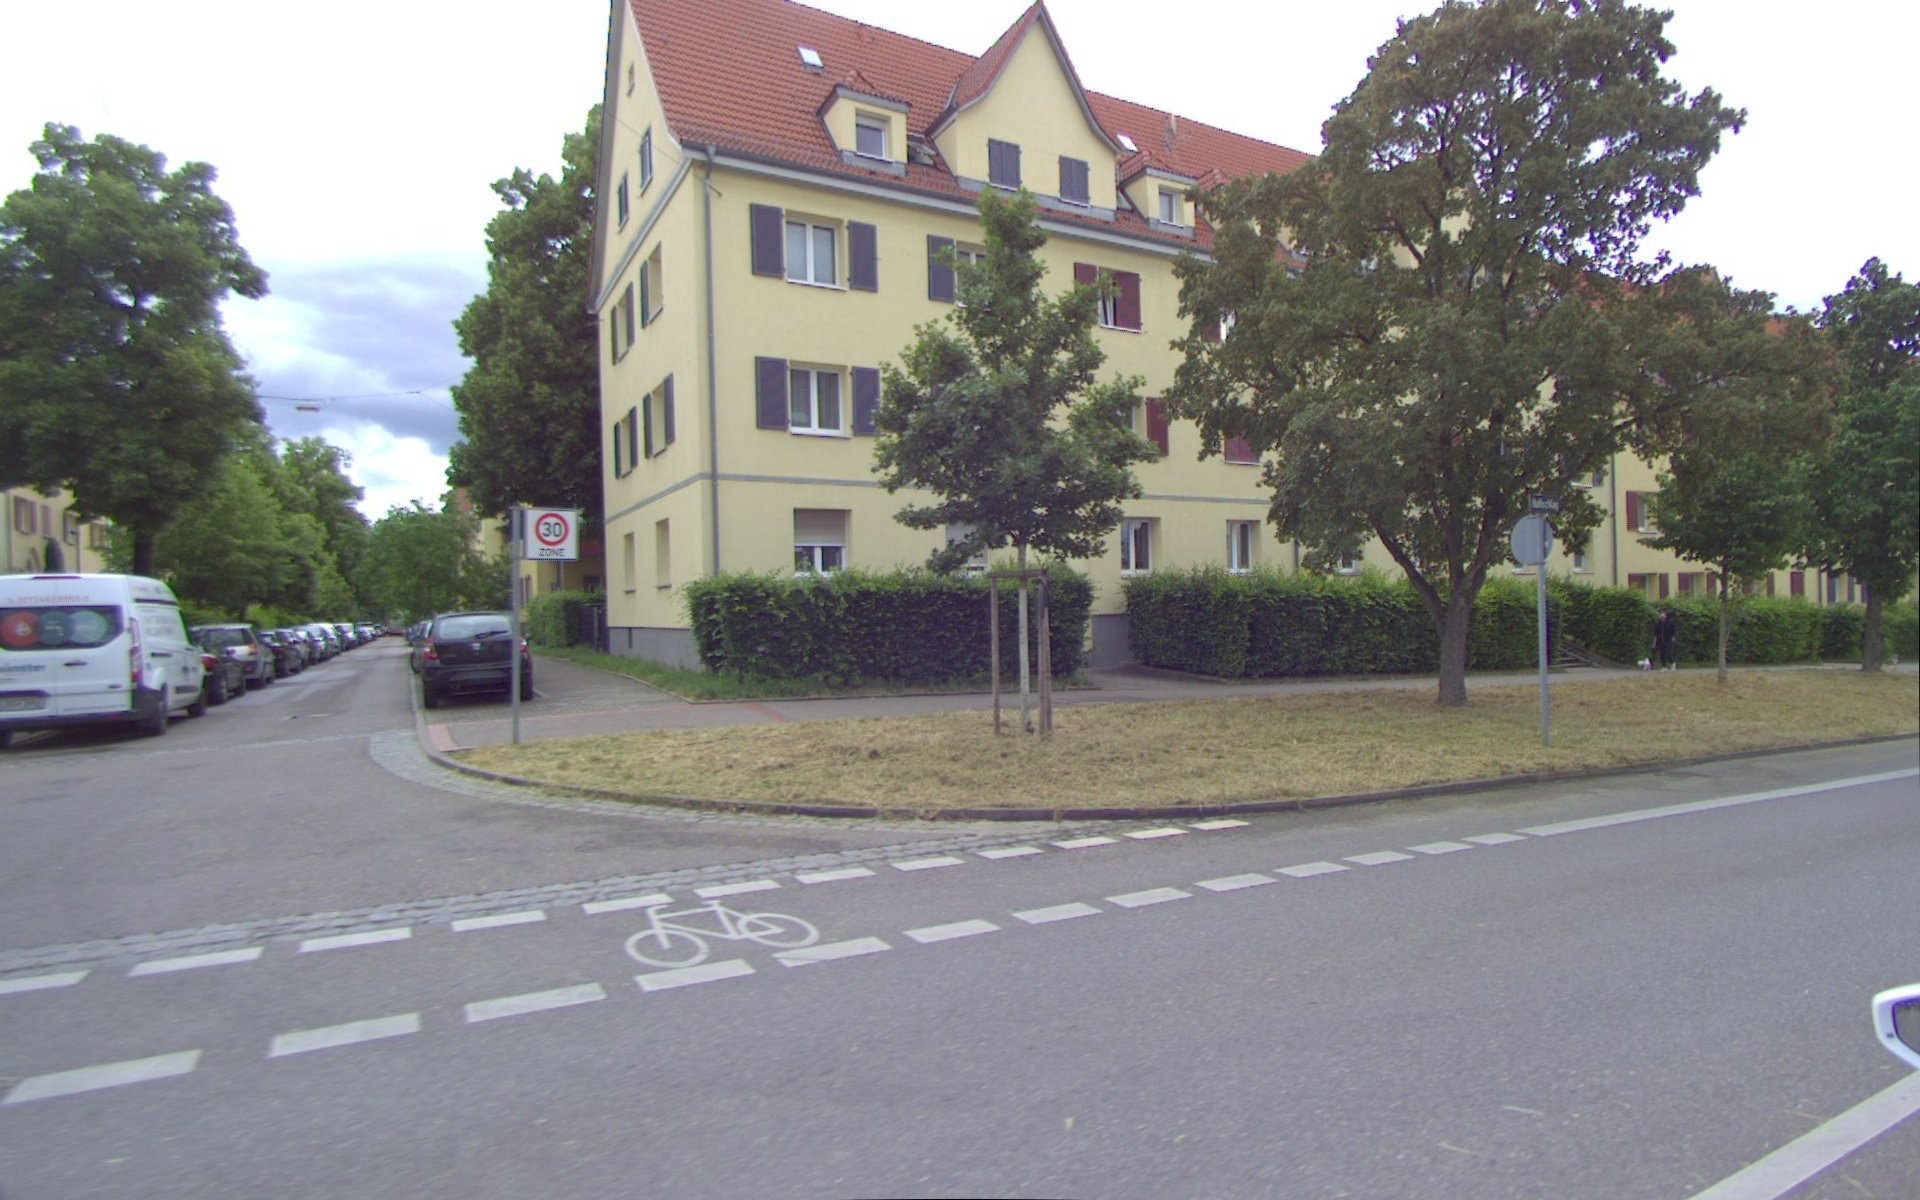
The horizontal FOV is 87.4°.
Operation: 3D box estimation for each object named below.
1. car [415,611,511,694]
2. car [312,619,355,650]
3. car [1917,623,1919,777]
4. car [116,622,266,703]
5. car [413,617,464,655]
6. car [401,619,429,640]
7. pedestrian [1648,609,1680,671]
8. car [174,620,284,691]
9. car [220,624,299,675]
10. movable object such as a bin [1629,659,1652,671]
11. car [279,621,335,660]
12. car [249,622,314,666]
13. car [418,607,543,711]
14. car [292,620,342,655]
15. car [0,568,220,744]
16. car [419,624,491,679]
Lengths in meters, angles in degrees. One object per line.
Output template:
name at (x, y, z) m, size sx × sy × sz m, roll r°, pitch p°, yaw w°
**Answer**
car at (-10.743, 1.048, 21.591) m, size 1.601 × 1.550 × 3.633 m, roll -3°, pitch 1°, yaw -30°
car at (-30.772, 1.673, 49.382) m, size 1.567 × 1.404 × 3.446 m, roll 1°, pitch -1°, yaw -29°
car at (12.576, 1.093, 10.983) m, size 4.309 × 1.641 × 1.891 m, roll 1°, pitch -1°, yaw -29°
car at (-15.754, 1.212, 20.777) m, size 1.722 × 1.486 × 3.804 m, roll 1°, pitch -1°, yaw -26°
car at (-19.475, 1.308, 37.450) m, size 1.523 × 1.255 × 3.399 m, roll -3°, pitch 1°, yaw -30°
car at (-36.215, 1.965, 66.736) m, size 1.523 × 1.255 × 3.399 m, roll -3°, pitch 1°, yaw -30°
pedestrian at (20.683, 1.174, 29.525) m, size 0.744 × 1.803 × 0.511 m, roll 1°, pitch -1°, yaw -30°
car at (-18.094, 1.309, 25.024) m, size 1.724 × 1.587 × 3.801 m, roll 1°, pitch -1°, yaw -29°
car at (-21.055, 1.457, 30.287) m, size 1.567 × 1.404 × 3.446 m, roll 1°, pitch -1°, yaw -29°
movable object such as a bin at (20.490, 1.956, 30.248) m, size 0.573 × 0.352 × 0.305 m, roll 1°, pitch -1°, yaw -24°
car at (-25.429, 1.559, 39.177) m, size 1.567 × 1.404 × 3.446 m, roll 1°, pitch -1°, yaw -29°
car at (-23.723, 1.512, 35.225) m, size 1.567 × 1.404 × 3.446 m, roll 1°, pitch -1°, yaw -29°
car at (-8.591, 0.945, 17.829) m, size 1.670 × 1.550 × 3.886 m, roll -3°, pitch 1°, yaw -30°
car at (-27.920, 1.608, 43.686) m, size 1.567 × 1.404 × 3.446 m, roll 1°, pitch -1°, yaw -29°
car at (-13.021, 0.784, 15.429) m, size 1.970 × 2.283 × 4.698 m, roll 1°, pitch -2°, yaw -29°
car at (-13.510, 1.319, 26.799) m, size 1.523 × 1.255 × 3.399 m, roll -3°, pitch 1°, yaw -30°
